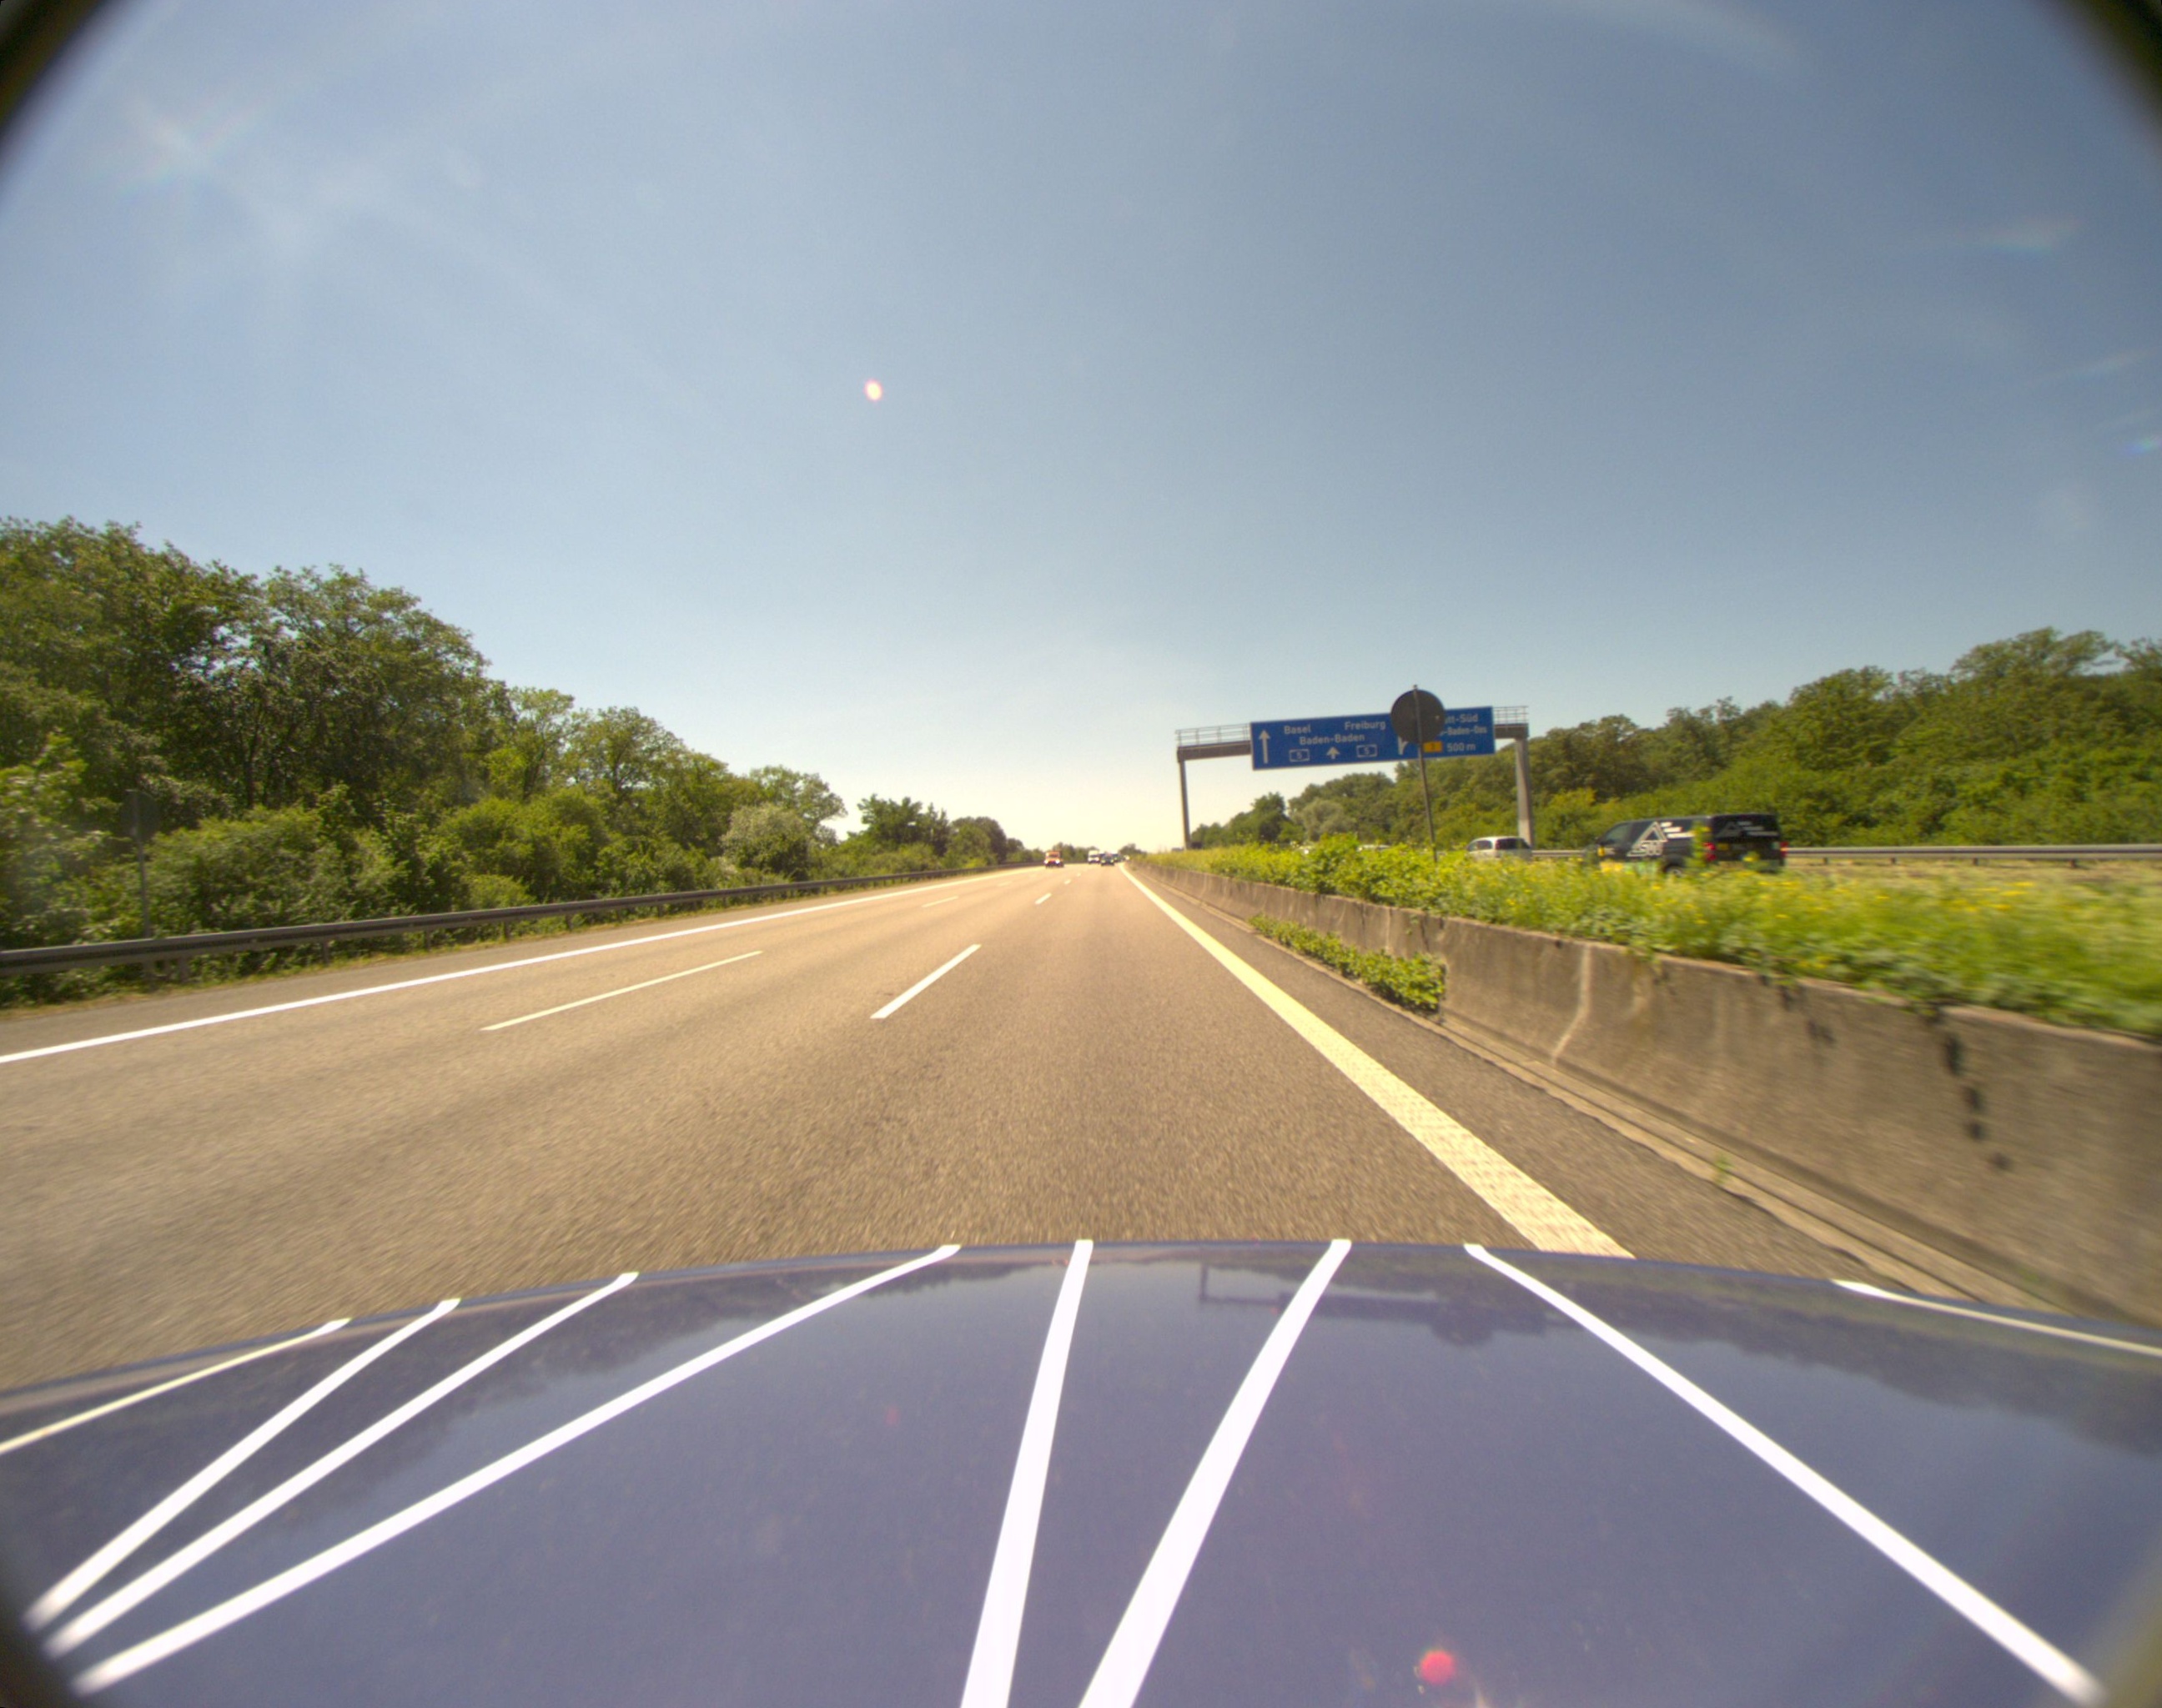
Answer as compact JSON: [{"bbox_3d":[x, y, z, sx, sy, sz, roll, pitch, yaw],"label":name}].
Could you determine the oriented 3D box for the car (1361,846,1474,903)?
[{"bbox_3d":[9.691,0.537,22.211,1.570,1.477,4.000,-2,0,1],"label":"car"}]

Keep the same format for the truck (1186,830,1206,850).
[{"bbox_3d":[26.061,-3.091,172.866,3.185,4.206,14.498,-2,0,3],"label":"truck"}]

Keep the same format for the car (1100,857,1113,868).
[{"bbox_3d":[3.603,1.154,107.654,1.800,1.390,4.833,-2,0,1],"label":"car"}]

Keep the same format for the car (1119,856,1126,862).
[{"bbox_3d":[11.947,1.501,221.353,1.879,1.630,4.000,-2,0,2],"label":"car"}]

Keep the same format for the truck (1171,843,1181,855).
[{"bbox_3d":[31.939,-1.638,255.995,2.661,3.842,9.035,-2,0,3],"label":"truck"}]

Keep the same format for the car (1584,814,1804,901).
[{"bbox_3d":[15.096,0.060,19.159,1.701,1.833,4.888,-2,0,2],"label":"car"}]

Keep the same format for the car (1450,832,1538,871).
[{"bbox_3d":[17.736,-0.118,32.835,1.574,1.545,4.082,-2,0,1],"label":"car"}]

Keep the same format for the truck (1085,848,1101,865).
[{"bbox_3d":[2.464,0.513,151.352,2.858,3.163,10.712,-2,0,2],"label":"truck"}]

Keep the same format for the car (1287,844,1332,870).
[{"bbox_3d":[14.552,0.194,48.559,1.639,1.565,4.000,-2,0,1],"label":"car"}]

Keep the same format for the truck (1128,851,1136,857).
[{"bbox_3d":[11.556,0.041,173.079,1.478,1.172,4.000,-2,0,0],"label":"truck"}]

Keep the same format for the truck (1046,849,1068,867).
[{"bbox_3d":[-3.477,0.585,114.237,2.436,2.426,10.010,-2,0,3],"label":"truck"}]
